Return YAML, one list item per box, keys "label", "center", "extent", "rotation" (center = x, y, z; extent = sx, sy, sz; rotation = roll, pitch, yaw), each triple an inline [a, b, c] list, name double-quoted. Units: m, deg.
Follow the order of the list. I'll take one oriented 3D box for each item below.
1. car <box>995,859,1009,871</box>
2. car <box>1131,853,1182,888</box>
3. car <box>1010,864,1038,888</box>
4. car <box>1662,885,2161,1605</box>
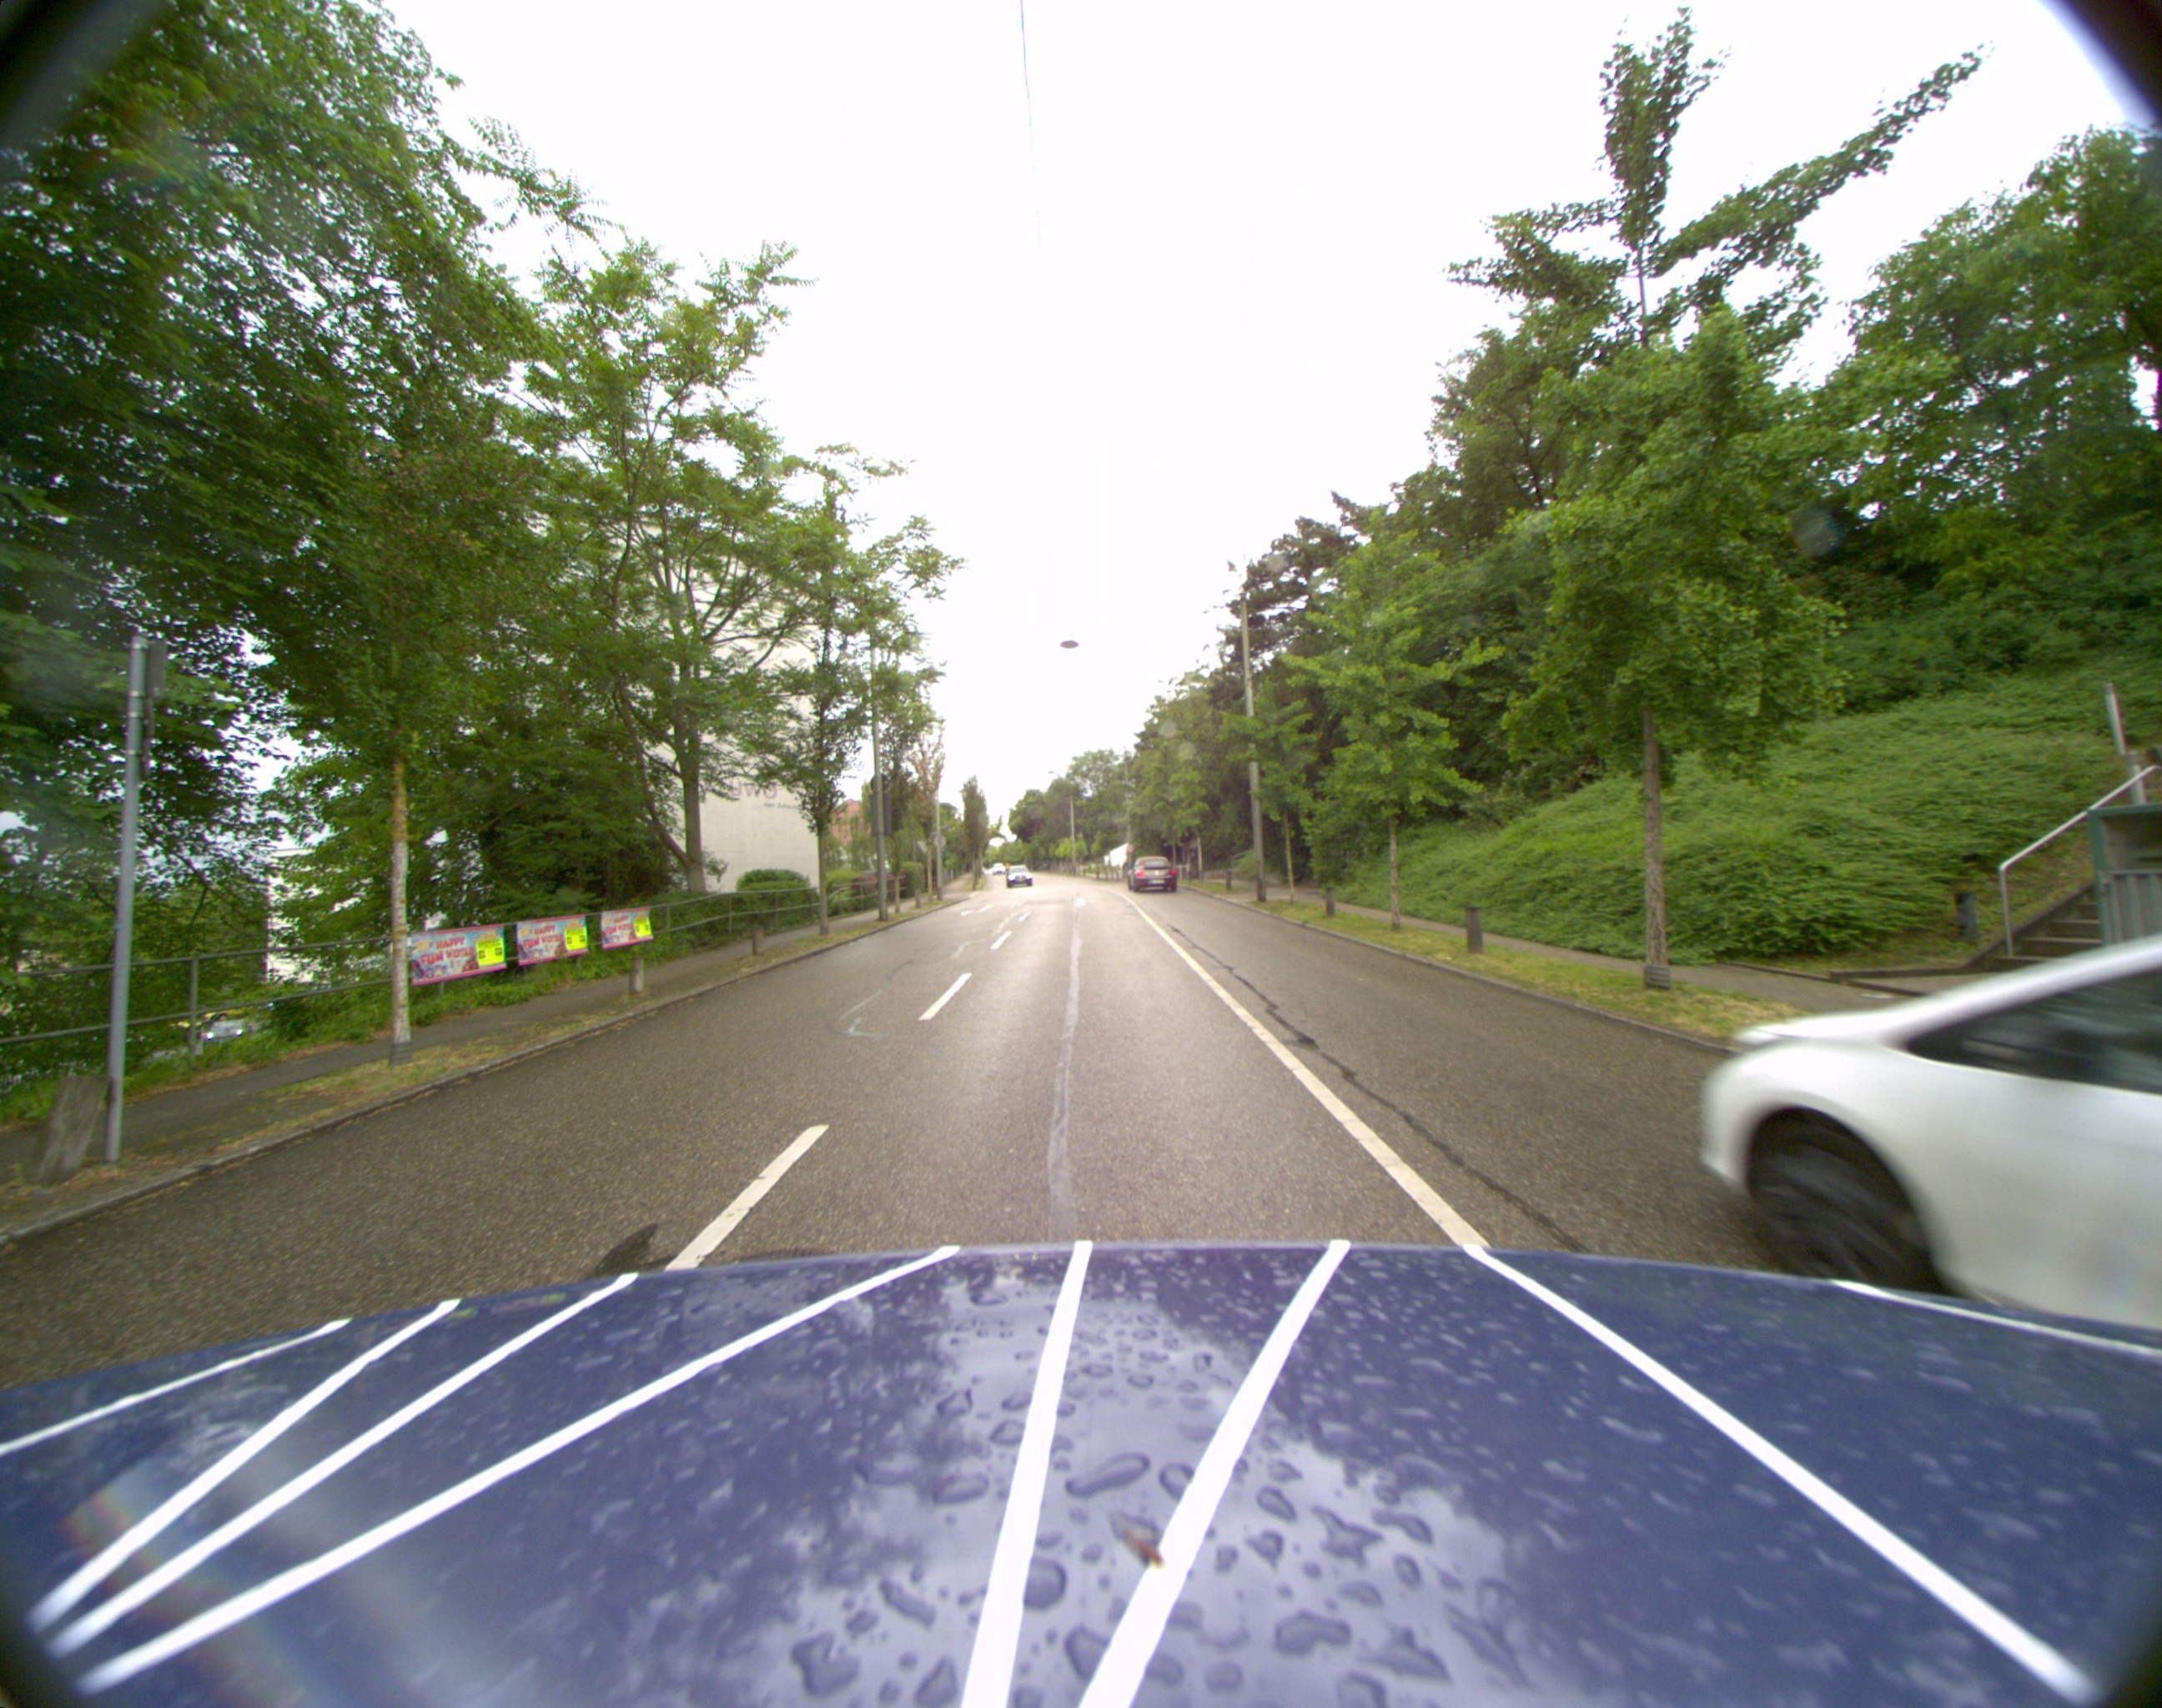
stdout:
- label: "car"
  center: [-11.987, 1.638, 115.791]
  extent: [1.835, 1.609, 4.349]
  rotation: [-3, 1, -3]
- label: "car"
  center: [3.222, 0.677, 33.088]
  extent: [1.782, 1.440, 4.000]
  rotation: [0, 0, 0]
- label: "car"
  center: [-4.450, 1.727, 59.936]
  extent: [1.834, 1.609, 4.292]
  rotation: [-3, 1, 0]
- label: "car"
  center: [3.243, 0.904, 1.197]
  extent: [1.713, 1.522, 3.842]
  rotation: [1, 0, 0]
